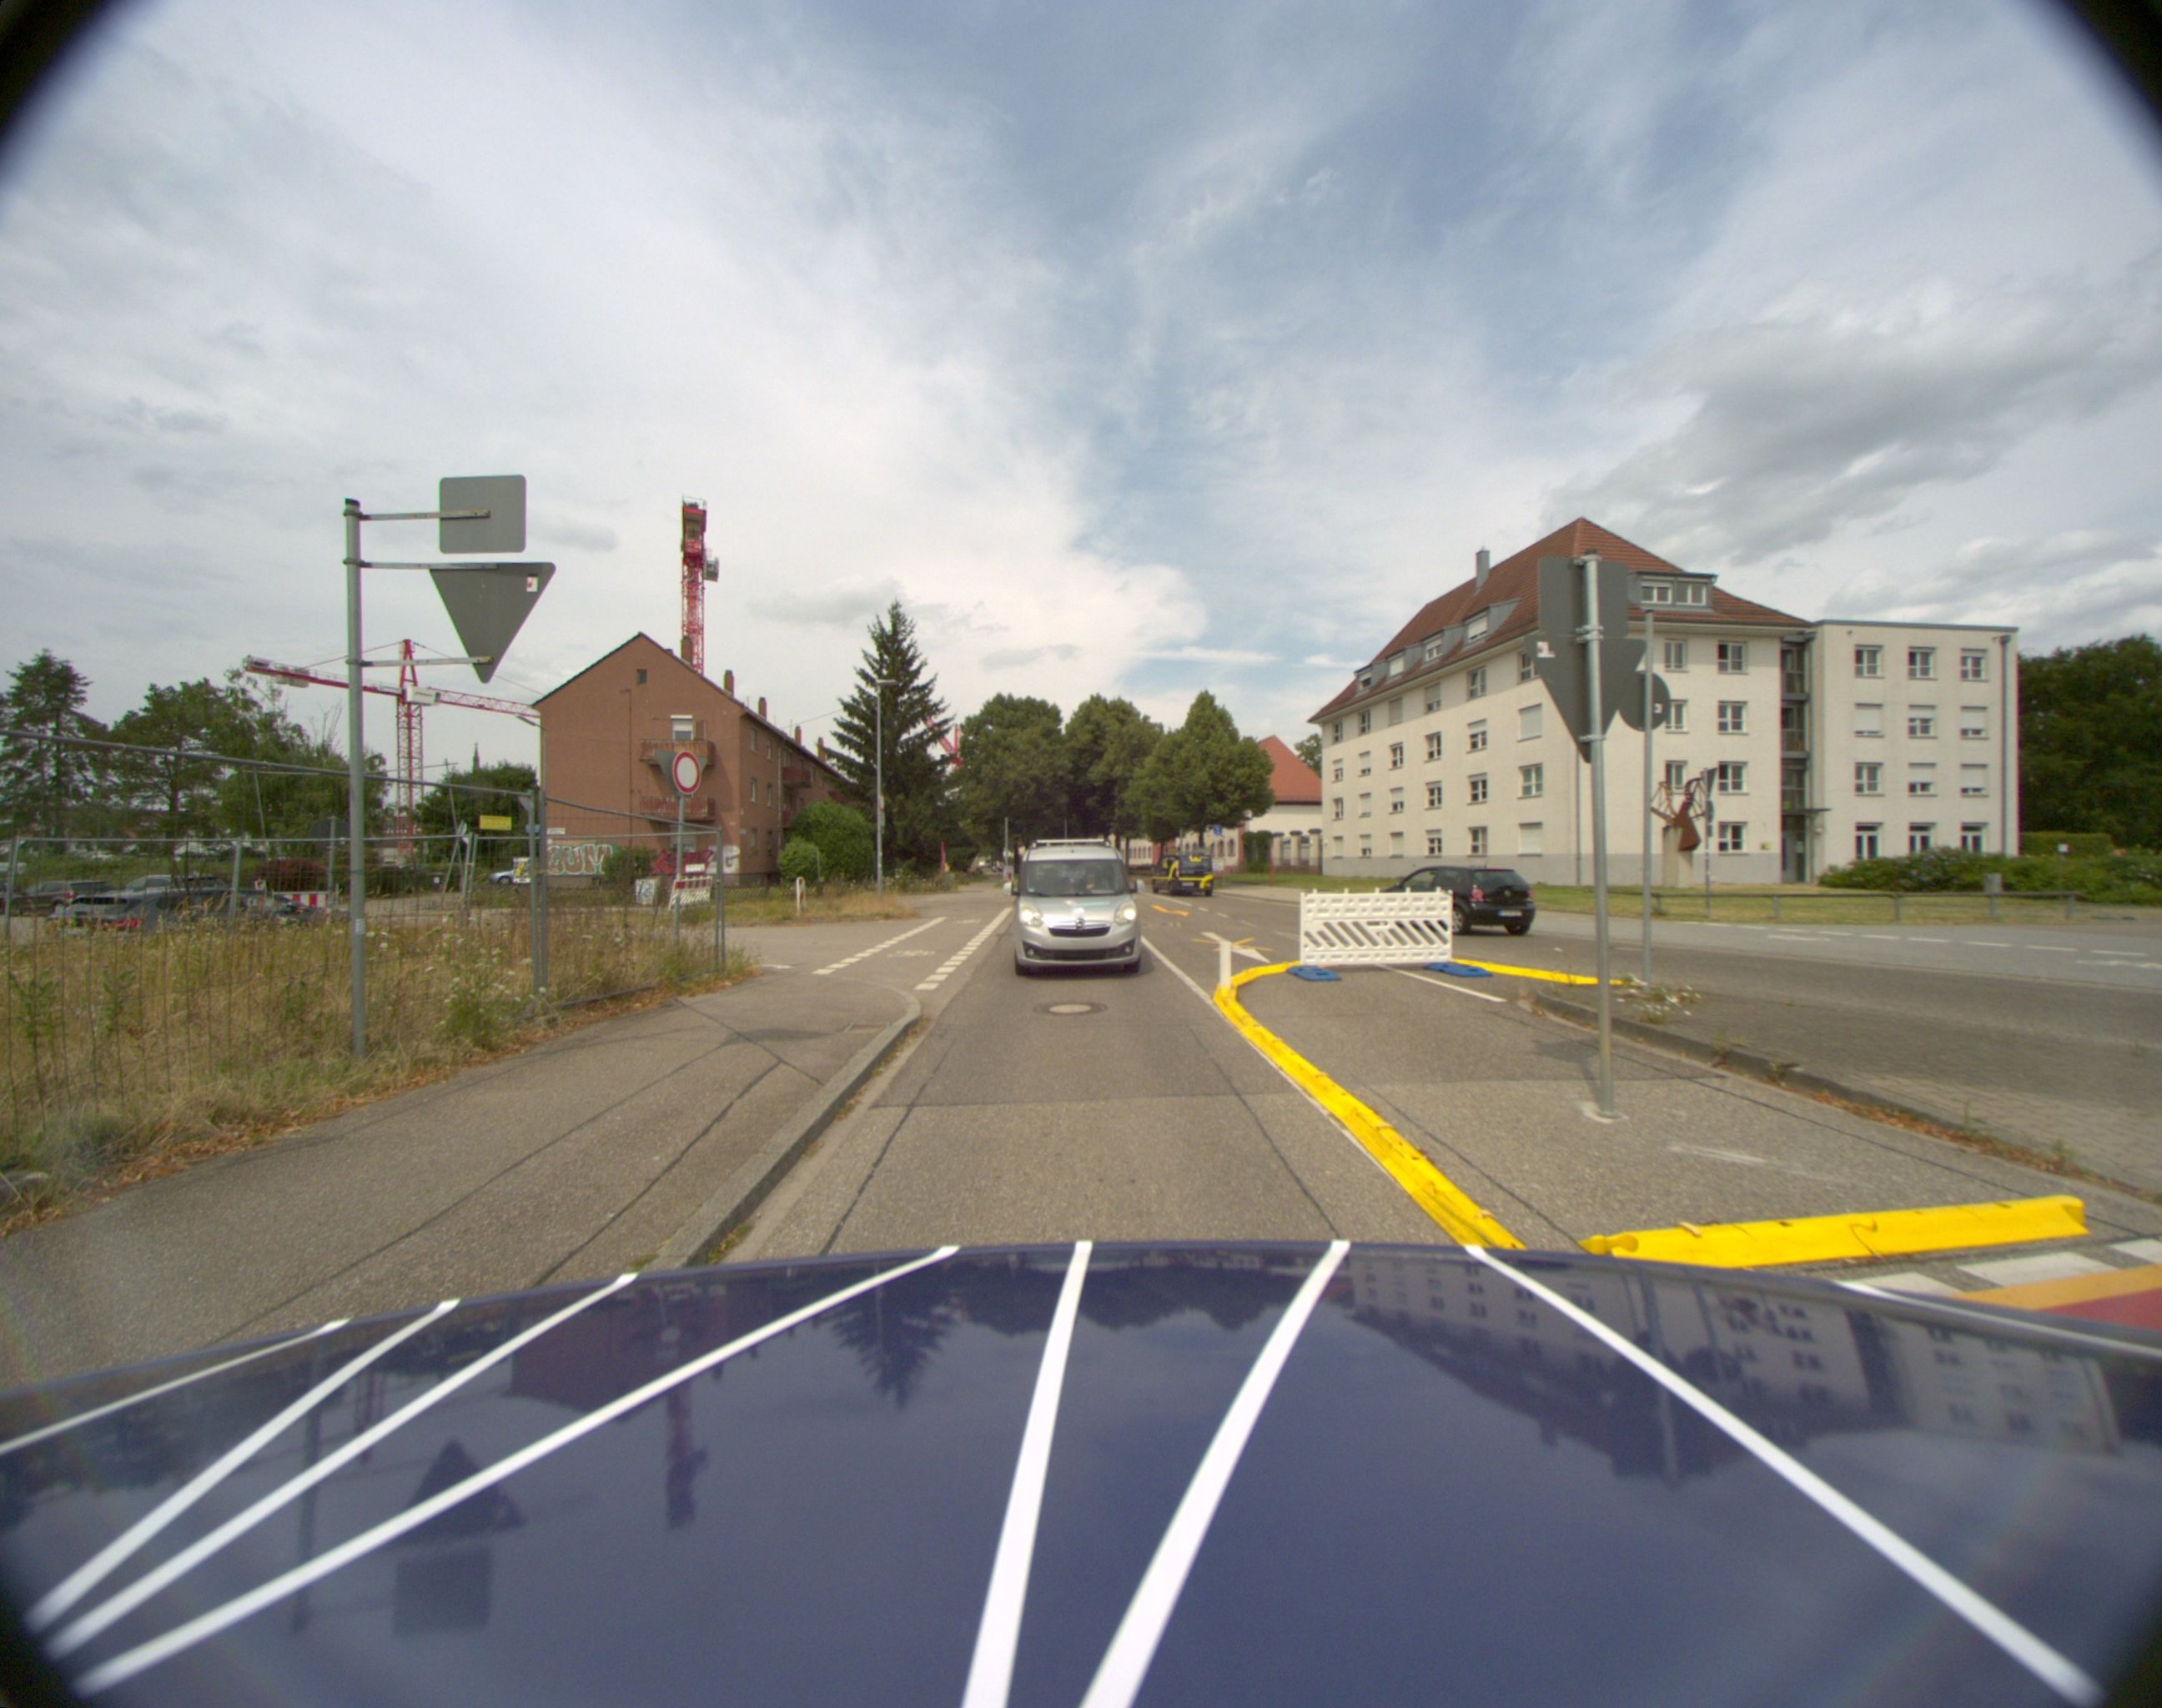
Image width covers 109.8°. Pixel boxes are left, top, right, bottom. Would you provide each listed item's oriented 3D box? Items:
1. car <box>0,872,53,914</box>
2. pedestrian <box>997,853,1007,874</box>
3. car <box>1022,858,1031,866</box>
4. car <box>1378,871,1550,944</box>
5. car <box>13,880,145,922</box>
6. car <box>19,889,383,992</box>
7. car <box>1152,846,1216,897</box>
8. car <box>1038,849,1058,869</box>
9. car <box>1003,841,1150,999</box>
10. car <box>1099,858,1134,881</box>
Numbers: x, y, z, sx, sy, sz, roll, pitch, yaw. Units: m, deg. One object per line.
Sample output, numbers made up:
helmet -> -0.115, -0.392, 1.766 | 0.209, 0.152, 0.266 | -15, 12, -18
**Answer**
car -> -46.738, 1.655, 32.457 | 4.006, 1.739, 1.859 | -1, 0, 12
pedestrian -> -7.880, 0.940, 75.507 | 0.856, 2.002, 0.731 | -1, 0, -17
car -> -10.120, 1.546, 141.649 | 1.677, 1.402, 3.918 | -1, 0, -5
car -> 8.239, 1.093, 16.746 | 1.631, 1.406, 3.720 | 1, -1, -6
car -> -41.697, 1.934, 31.650 | 4.006, 1.593, 1.804 | -1, 0, 13
car -> -16.197, 1.502, 14.411 | 1.765, 1.465, 4.261 | -1, 0, 5
car -> 4.879, 0.793, 36.668 | 1.999, 2.259, 5.158 | -1, 0, -5
car -> -4.569, 0.717, 104.926 | 2.071, 2.670, 5.966 | -1, 0, -9
car -> -0.165, 0.828, 11.770 | 1.810, 1.936, 4.583 | -1, 0, -3
car -> 2.635, 1.117, 56.961 | 1.801, 1.613, 4.745 | -1, 0, -7
